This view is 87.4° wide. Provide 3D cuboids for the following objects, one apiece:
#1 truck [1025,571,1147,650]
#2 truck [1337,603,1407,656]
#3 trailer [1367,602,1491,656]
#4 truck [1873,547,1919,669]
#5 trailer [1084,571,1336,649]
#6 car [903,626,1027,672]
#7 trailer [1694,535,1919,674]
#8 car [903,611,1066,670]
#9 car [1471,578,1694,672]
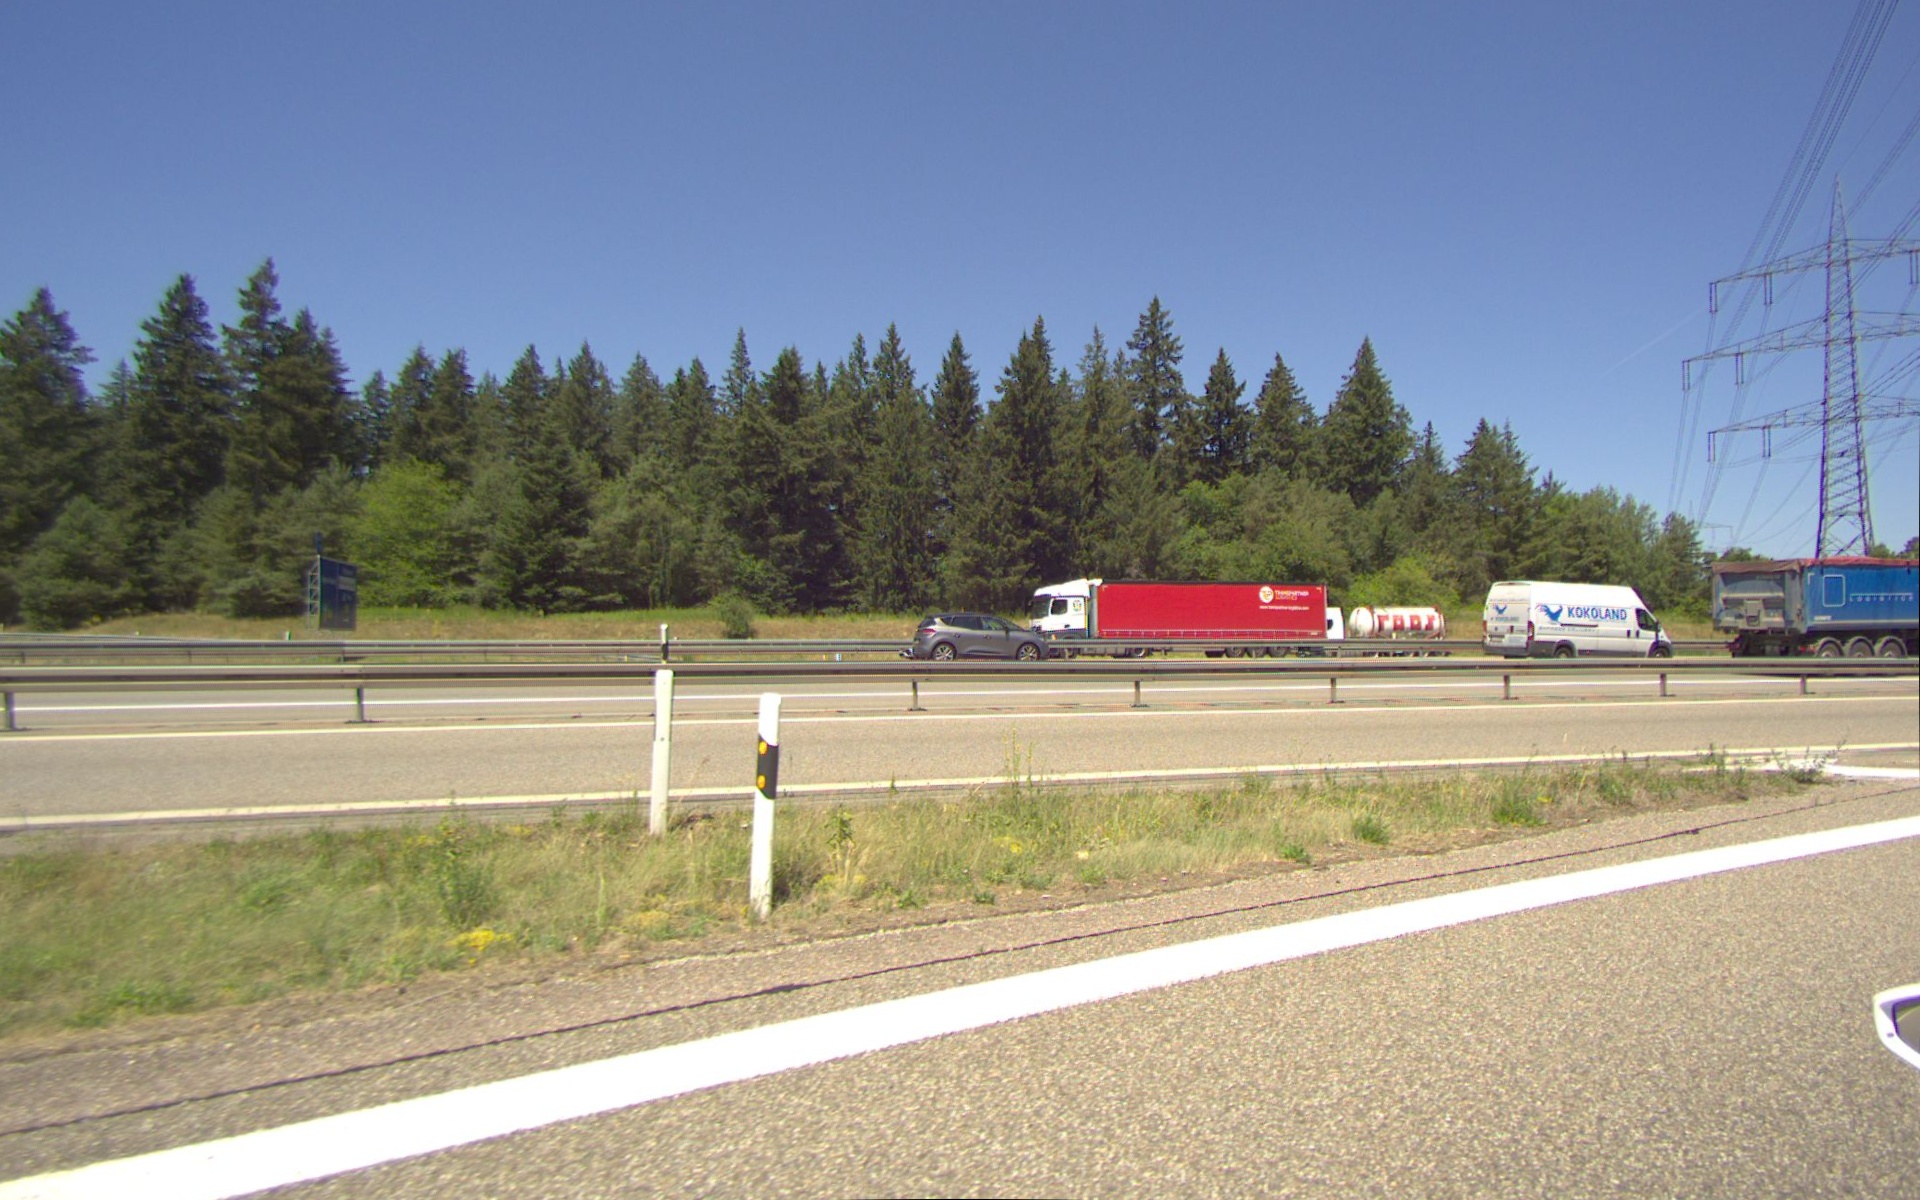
[{"bbox_3d":[6.381,0.522,51.076,5.575,3.848,2.541,0,-1,-16],"label":"truck"},{"bbox_3d":[30.430,2.157,74.270,3.933,3.848,2.768,0,-1,-15],"label":"truck"},{"bbox_3d":[35.286,2.147,75.596,8.787,3.848,2.773,0,-1,-15],"label":"trailer"},{"bbox_3d":[32.539,0.309,32.371,4.548,3.858,2.755,1,-1,-18],"label":"truck"},{"bbox_3d":[13.290,0.501,53.120,13.515,3.848,2.541,0,-1,-16],"label":"trailer"},{"bbox_3d":[0.194,1.987,40.841,4.742,1.706,1.773,2,-1,-13],"label":"car"},{"bbox_3d":[27.321,0.230,30.663,9.728,3.858,2.769,1,-1,-18],"label":"trailer"},{"bbox_3d":[0.747,1.265,31.311,4.747,1.706,1.771,2,-1,-17],"label":"car"},{"bbox_3d":[20.658,0.869,33.371,6.939,2.870,2.238,2,-1,-16],"label":"car"}]
